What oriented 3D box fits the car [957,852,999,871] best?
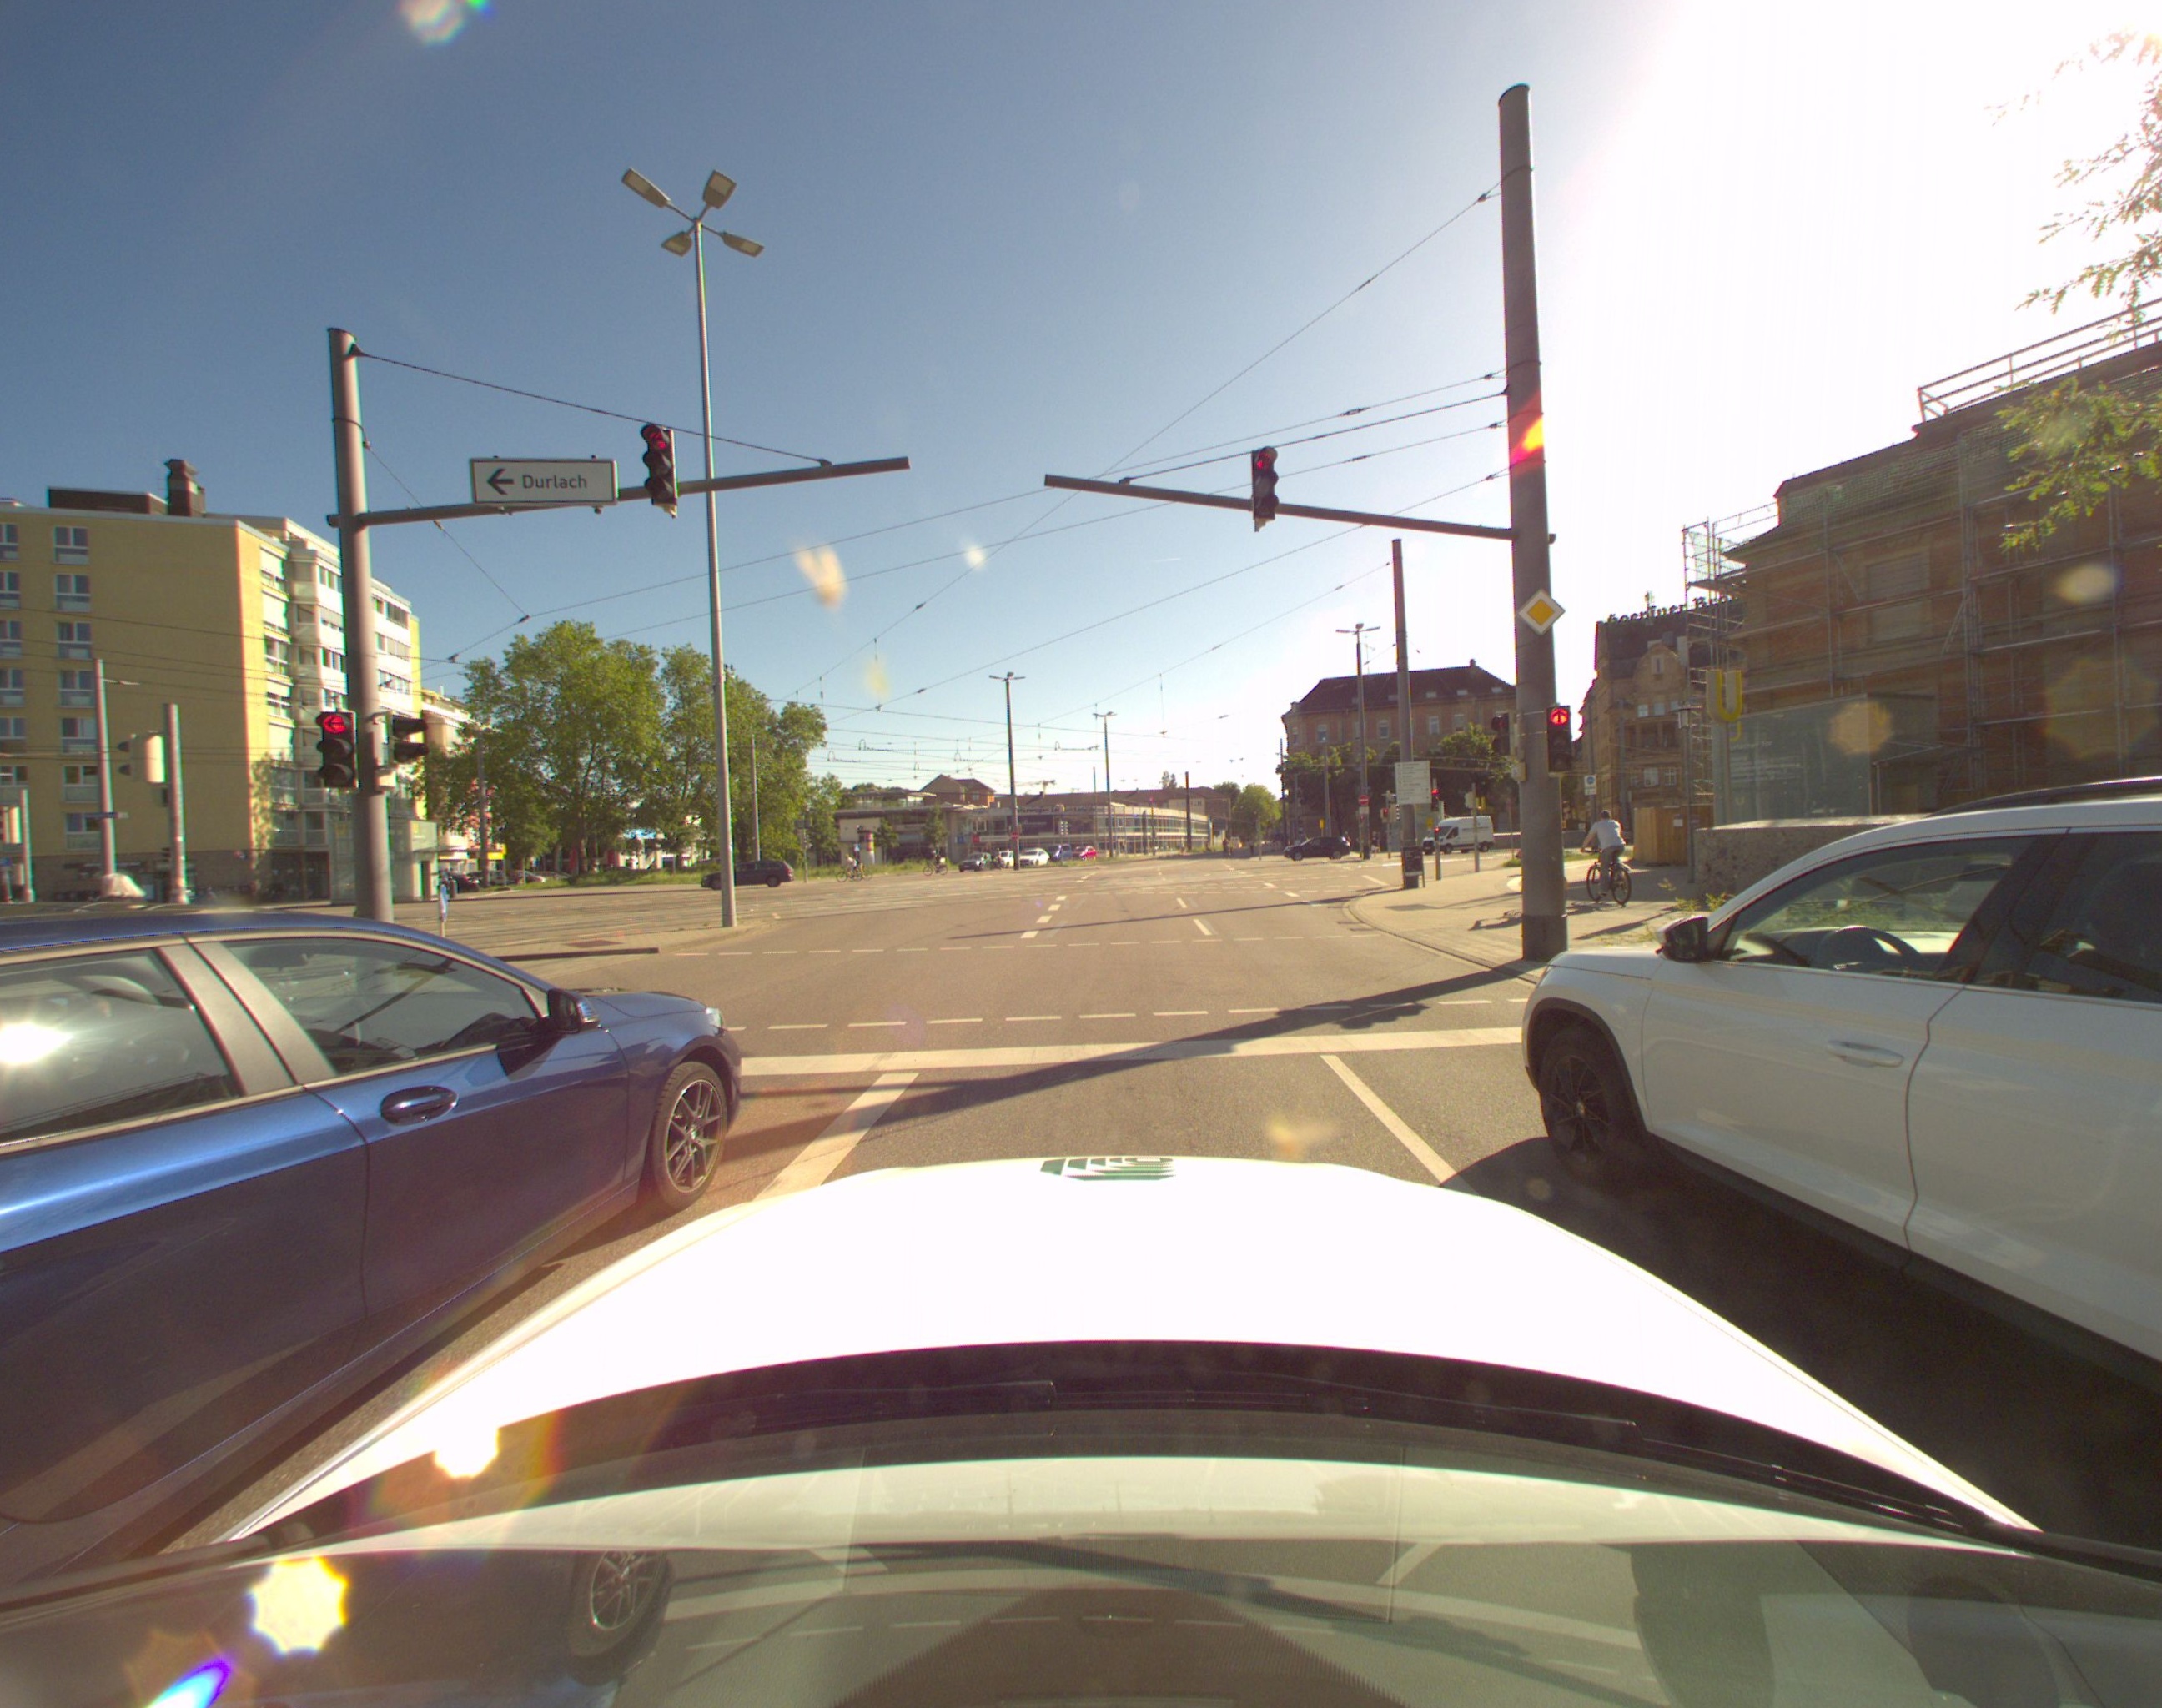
[{"bbox_3d":[-8.029,0.567,63.589,1.689,1.354,3.719,-2,0,19],"label":"car"}]

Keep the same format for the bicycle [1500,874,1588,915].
[{"bbox_3d":[8.786,0.753,15.530,0.536,0.655,1.722,-5,1,-5],"label":"bicycle"}]

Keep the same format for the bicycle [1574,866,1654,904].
[{"bbox_3d":[10.426,0.582,15.981,0.535,0.655,1.466,-3,0,-2],"label":"bicycle"}]

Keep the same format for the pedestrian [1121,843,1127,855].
[{"bbox_3d":[6.117,-0.702,116.168,0.537,1.688,0.634,-2,0,42],"label":"pedestrian"}]

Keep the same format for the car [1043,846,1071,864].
[{"bbox_3d":[-2.412,0.043,81.529,1.613,1.692,3.702,-2,0,17],"label":"car"}]

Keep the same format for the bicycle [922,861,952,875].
[{"bbox_3d":[-10.258,0.975,57.867,2.009,0.913,0.559,-2,0,-16],"label":"bicycle"}]

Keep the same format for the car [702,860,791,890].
[{"bbox_3d":[-17.964,1.109,43.976,4.222,1.400,1.848,-2,0,-18],"label":"car"}]

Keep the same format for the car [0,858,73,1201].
[{"bbox_3d":[-5.813,0.811,1.902,1.750,1.517,4.015,-1,0,4],"label":"car"}]

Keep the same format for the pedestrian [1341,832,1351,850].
[{"bbox_3d":[22.850,-1.128,70.218,0.541,1.517,0.711,-2,0,43],"label":"pedestrian"}]

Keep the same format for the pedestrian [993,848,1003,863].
[{"bbox_3d":[-6.408,0.112,63.038,0.419,1.204,0.753,-2,0,19],"label":"pedestrian"}]

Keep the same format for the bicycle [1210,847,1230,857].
[{"bbox_3d":[12.566,-0.205,73.362,1.942,0.870,0.736,-2,0,-43],"label":"bicycle"}]

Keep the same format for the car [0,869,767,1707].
[{"bbox_3d":[-2.595,0.818,2.279,1.704,1.445,4.034,-1,0,2],"label":"car"}]

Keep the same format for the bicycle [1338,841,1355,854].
[{"bbox_3d":[22.954,-0.559,70.320,0.541,1.120,2.031,-2,0,43],"label":"bicycle"}]

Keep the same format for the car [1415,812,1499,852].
[{"bbox_3d":[27.666,-1.640,59.887,5.931,2.744,2.127,-2,0,-24],"label":"car"}]

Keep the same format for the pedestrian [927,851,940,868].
[{"bbox_3d":[-10.456,0.378,57.812,0.795,1.204,0.557,-2,0,-16],"label":"pedestrian"}]

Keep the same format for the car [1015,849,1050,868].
[{"bbox_3d":[-3.977,0.344,67.544,1.613,1.382,3.755,-2,0,17],"label":"car"}]

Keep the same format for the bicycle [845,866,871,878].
[{"bbox_3d":[-14.936,1.183,54.635,1.633,0.718,0.421,-2,0,-18],"label":"bicycle"}]

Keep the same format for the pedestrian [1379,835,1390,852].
[{"bbox_3d":[27.330,-0.962,73.290,0.707,1.517,0.544,-2,0,-25],"label":"pedestrian"}]

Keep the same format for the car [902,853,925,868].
[{"bbox_3d":[-21.158,0.809,103.027,1.958,1.706,4.085,-2,0,2],"label":"car"}]

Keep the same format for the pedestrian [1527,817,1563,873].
[{"bbox_3d":[15.844,-0.302,27.810,0.887,1.859,0.933,-2,0,37],"label":"pedestrian"}]

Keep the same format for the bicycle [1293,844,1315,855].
[{"bbox_3d":[18.215,-0.365,66.447,1.941,0.870,0.736,-2,0,-41],"label":"bicycle"}]

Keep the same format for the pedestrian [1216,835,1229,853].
[{"bbox_3d":[12.774,-0.893,73.628,0.722,1.632,0.795,-2,0,-43],"label":"pedestrian"}]

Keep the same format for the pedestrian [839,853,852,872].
[{"bbox_3d":[-15.311,0.577,53.036,0.750,1.204,0.421,-2,0,-21],"label":"pedestrian"}]

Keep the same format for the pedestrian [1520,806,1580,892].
[{"bbox_3d":[8.781,-0.093,15.274,0.547,1.562,0.856,-2,0,-6],"label":"pedestrian"}]

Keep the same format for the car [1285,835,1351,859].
[{"bbox_3d":[16.843,-0.516,58.084,4.229,1.503,1.707,-2,0,6],"label":"car"}]

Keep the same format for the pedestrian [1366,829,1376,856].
[{"bbox_3d":[22.263,-0.867,62.551,0.461,2.013,0.449,-3,0,-16],"label":"pedestrian"}]

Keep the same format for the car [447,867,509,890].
[{"bbox_3d":[-49.438,1.997,66.854,3.742,1.662,1.585,-2,0,-17],"label":"car"}]

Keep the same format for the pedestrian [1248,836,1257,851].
[{"bbox_3d":[17.655,-1.095,83.683,0.739,1.523,0.722,-2,0,24],"label":"pedestrian"}]

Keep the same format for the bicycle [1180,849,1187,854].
[{"bbox_3d":[15.249,-0.375,121.076,0.418,0.718,1.484,-2,0,28],"label":"bicycle"}]

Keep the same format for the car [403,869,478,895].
[{"bbox_3d":[-45.405,1.965,57.810,3.742,1.662,1.585,-2,0,-17],"label":"car"}]

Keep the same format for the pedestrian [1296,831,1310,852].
[{"bbox_3d":[18.089,-1.038,66.364,0.722,1.632,0.749,-2,0,-40],"label":"pedestrian"}]

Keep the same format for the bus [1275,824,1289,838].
[{"bbox_3d":[60.822,-6.845,246.367,3.809,3.607,24.964,-1,0,15],"label":"bus"}]

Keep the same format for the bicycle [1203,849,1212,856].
[{"bbox_3d":[20.210,-0.292,130.031,0.802,1.045,2.139,-2,0,23],"label":"bicycle"}]

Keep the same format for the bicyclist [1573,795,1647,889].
[{"bbox_3d":[10.411,-0.233,16.053,0.745,1.778,0.923,-3,0,-3],"label":"bicyclist"}]

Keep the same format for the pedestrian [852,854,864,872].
[{"bbox_3d":[-14.963,0.603,54.630,0.749,1.127,0.421,-2,0,-18],"label":"pedestrian"}]

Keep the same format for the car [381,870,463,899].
[{"bbox_3d":[-42.563,1.942,52.681,3.742,1.662,1.585,-2,0,-17],"label":"car"}]

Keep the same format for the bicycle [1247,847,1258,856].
[{"bbox_3d":[17.619,-0.284,83.532,0.736,0.870,1.942,-2,0,24],"label":"bicycle"}]

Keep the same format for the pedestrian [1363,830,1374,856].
[{"bbox_3d":[21.838,-0.840,61.927,0.574,2.013,0.449,-3,0,-16],"label":"pedestrian"}]

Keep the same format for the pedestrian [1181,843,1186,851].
[{"bbox_3d":[15.204,-0.992,121.035,0.418,1.204,0.685,-2,0,28],"label":"pedestrian"}]

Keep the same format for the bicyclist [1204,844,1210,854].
[{"bbox_3d":[20.064,-0.783,129.766,0.802,1.623,0.934,-2,0,23],"label":"bicyclist"}]

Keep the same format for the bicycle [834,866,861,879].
[{"bbox_3d":[-15.196,1.191,53.071,1.635,0.758,0.421,-2,0,-21],"label":"bicycle"}]

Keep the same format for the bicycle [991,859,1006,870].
[{"bbox_3d":[-6.389,0.812,63.020,0.419,0.718,1.642,-2,0,19],"label":"bicycle"}]

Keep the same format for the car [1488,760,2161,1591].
[{"bbox_3d":[2.963,0.606,2.107,1.689,1.641,4.298,-2,0,1],"label":"car"}]

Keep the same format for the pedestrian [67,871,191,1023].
[{"bbox_3d":[-10.353,0.982,8.876,0.353,1.555,0.765,-2,0,21],"label":"pedestrian"}]

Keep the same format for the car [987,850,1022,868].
[{"bbox_3d":[-6.470,0.397,69.503,1.613,1.424,3.702,-2,0,17],"label":"car"}]

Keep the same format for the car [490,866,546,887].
[{"bbox_3d":[-50.971,2.007,73.788,3.742,1.662,1.585,-2,0,-17],"label":"car"}]

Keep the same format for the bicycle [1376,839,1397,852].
[{"bbox_3d":[27.517,-0.776,73.355,2.022,1.120,0.546,-2,0,-24],"label":"bicycle"}]

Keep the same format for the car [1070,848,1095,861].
[{"bbox_3d":[0.183,0.036,88.585,1.613,1.364,3.703,-2,0,19],"label":"car"}]
